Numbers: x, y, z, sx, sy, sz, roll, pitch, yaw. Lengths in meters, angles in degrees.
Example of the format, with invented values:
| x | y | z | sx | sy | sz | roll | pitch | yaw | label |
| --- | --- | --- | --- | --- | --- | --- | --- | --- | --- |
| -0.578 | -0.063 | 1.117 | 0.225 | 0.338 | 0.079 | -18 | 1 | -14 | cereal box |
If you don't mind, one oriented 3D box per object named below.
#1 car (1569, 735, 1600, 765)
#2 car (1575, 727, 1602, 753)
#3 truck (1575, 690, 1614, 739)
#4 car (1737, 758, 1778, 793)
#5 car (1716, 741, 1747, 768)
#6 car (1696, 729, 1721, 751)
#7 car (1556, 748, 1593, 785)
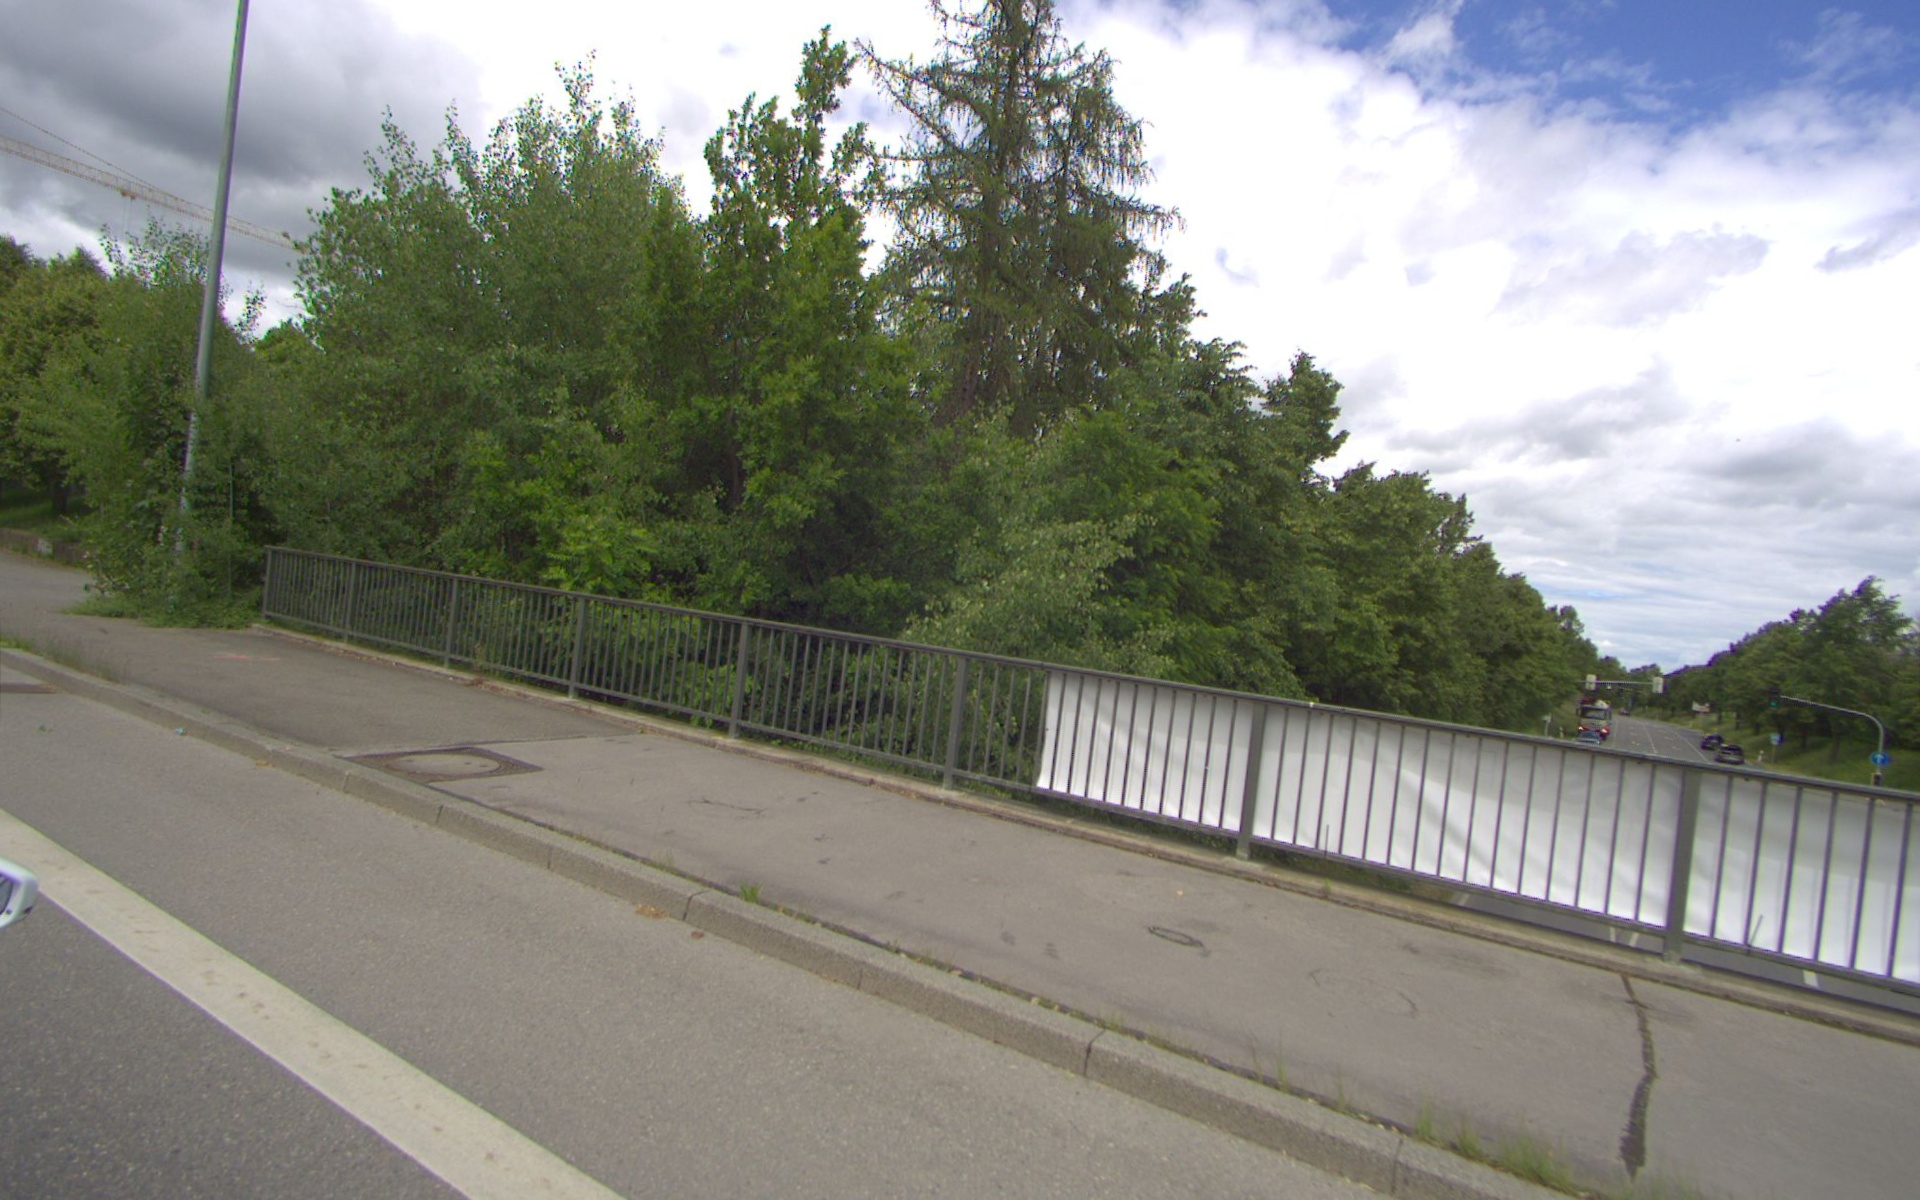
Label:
| x | y | z | sx | sy | sz | roll | pitch | yaw | label |
| --- | --- | --- | --- | --- | --- | --- | --- | --- | --- |
| 45.005 | 10.769 | 72.484 | 1.654 | 1.560 | 4.060 | 8 | 2 | 33 | car |
| 52.918 | 11.758 | 84.711 | 1.654 | 1.560 | 4.060 | 8 | 2 | 33 | car |
| 63.751 | 11.382 | 100.991 | 2.670 | 4.082 | 8.740 | 8 | 2 | 33 | truck |
| 51.226 | 11.258 | 64.659 | 1.655 | 1.560 | 3.842 | 8 | 2 | 35 | car |
| 63.189 | 12.640 | 82.454 | 1.655 | 1.560 | 3.842 | 8 | 2 | 35 | car |
| 73.613 | 13.744 | 98.979 | 1.655 | 1.560 | 3.842 | 8 | 2 | 35 | car |
| 37.045 | 10.013 | 60.628 | 1.654 | 1.560 | 3.844 | 8 | 2 | 33 | car |
